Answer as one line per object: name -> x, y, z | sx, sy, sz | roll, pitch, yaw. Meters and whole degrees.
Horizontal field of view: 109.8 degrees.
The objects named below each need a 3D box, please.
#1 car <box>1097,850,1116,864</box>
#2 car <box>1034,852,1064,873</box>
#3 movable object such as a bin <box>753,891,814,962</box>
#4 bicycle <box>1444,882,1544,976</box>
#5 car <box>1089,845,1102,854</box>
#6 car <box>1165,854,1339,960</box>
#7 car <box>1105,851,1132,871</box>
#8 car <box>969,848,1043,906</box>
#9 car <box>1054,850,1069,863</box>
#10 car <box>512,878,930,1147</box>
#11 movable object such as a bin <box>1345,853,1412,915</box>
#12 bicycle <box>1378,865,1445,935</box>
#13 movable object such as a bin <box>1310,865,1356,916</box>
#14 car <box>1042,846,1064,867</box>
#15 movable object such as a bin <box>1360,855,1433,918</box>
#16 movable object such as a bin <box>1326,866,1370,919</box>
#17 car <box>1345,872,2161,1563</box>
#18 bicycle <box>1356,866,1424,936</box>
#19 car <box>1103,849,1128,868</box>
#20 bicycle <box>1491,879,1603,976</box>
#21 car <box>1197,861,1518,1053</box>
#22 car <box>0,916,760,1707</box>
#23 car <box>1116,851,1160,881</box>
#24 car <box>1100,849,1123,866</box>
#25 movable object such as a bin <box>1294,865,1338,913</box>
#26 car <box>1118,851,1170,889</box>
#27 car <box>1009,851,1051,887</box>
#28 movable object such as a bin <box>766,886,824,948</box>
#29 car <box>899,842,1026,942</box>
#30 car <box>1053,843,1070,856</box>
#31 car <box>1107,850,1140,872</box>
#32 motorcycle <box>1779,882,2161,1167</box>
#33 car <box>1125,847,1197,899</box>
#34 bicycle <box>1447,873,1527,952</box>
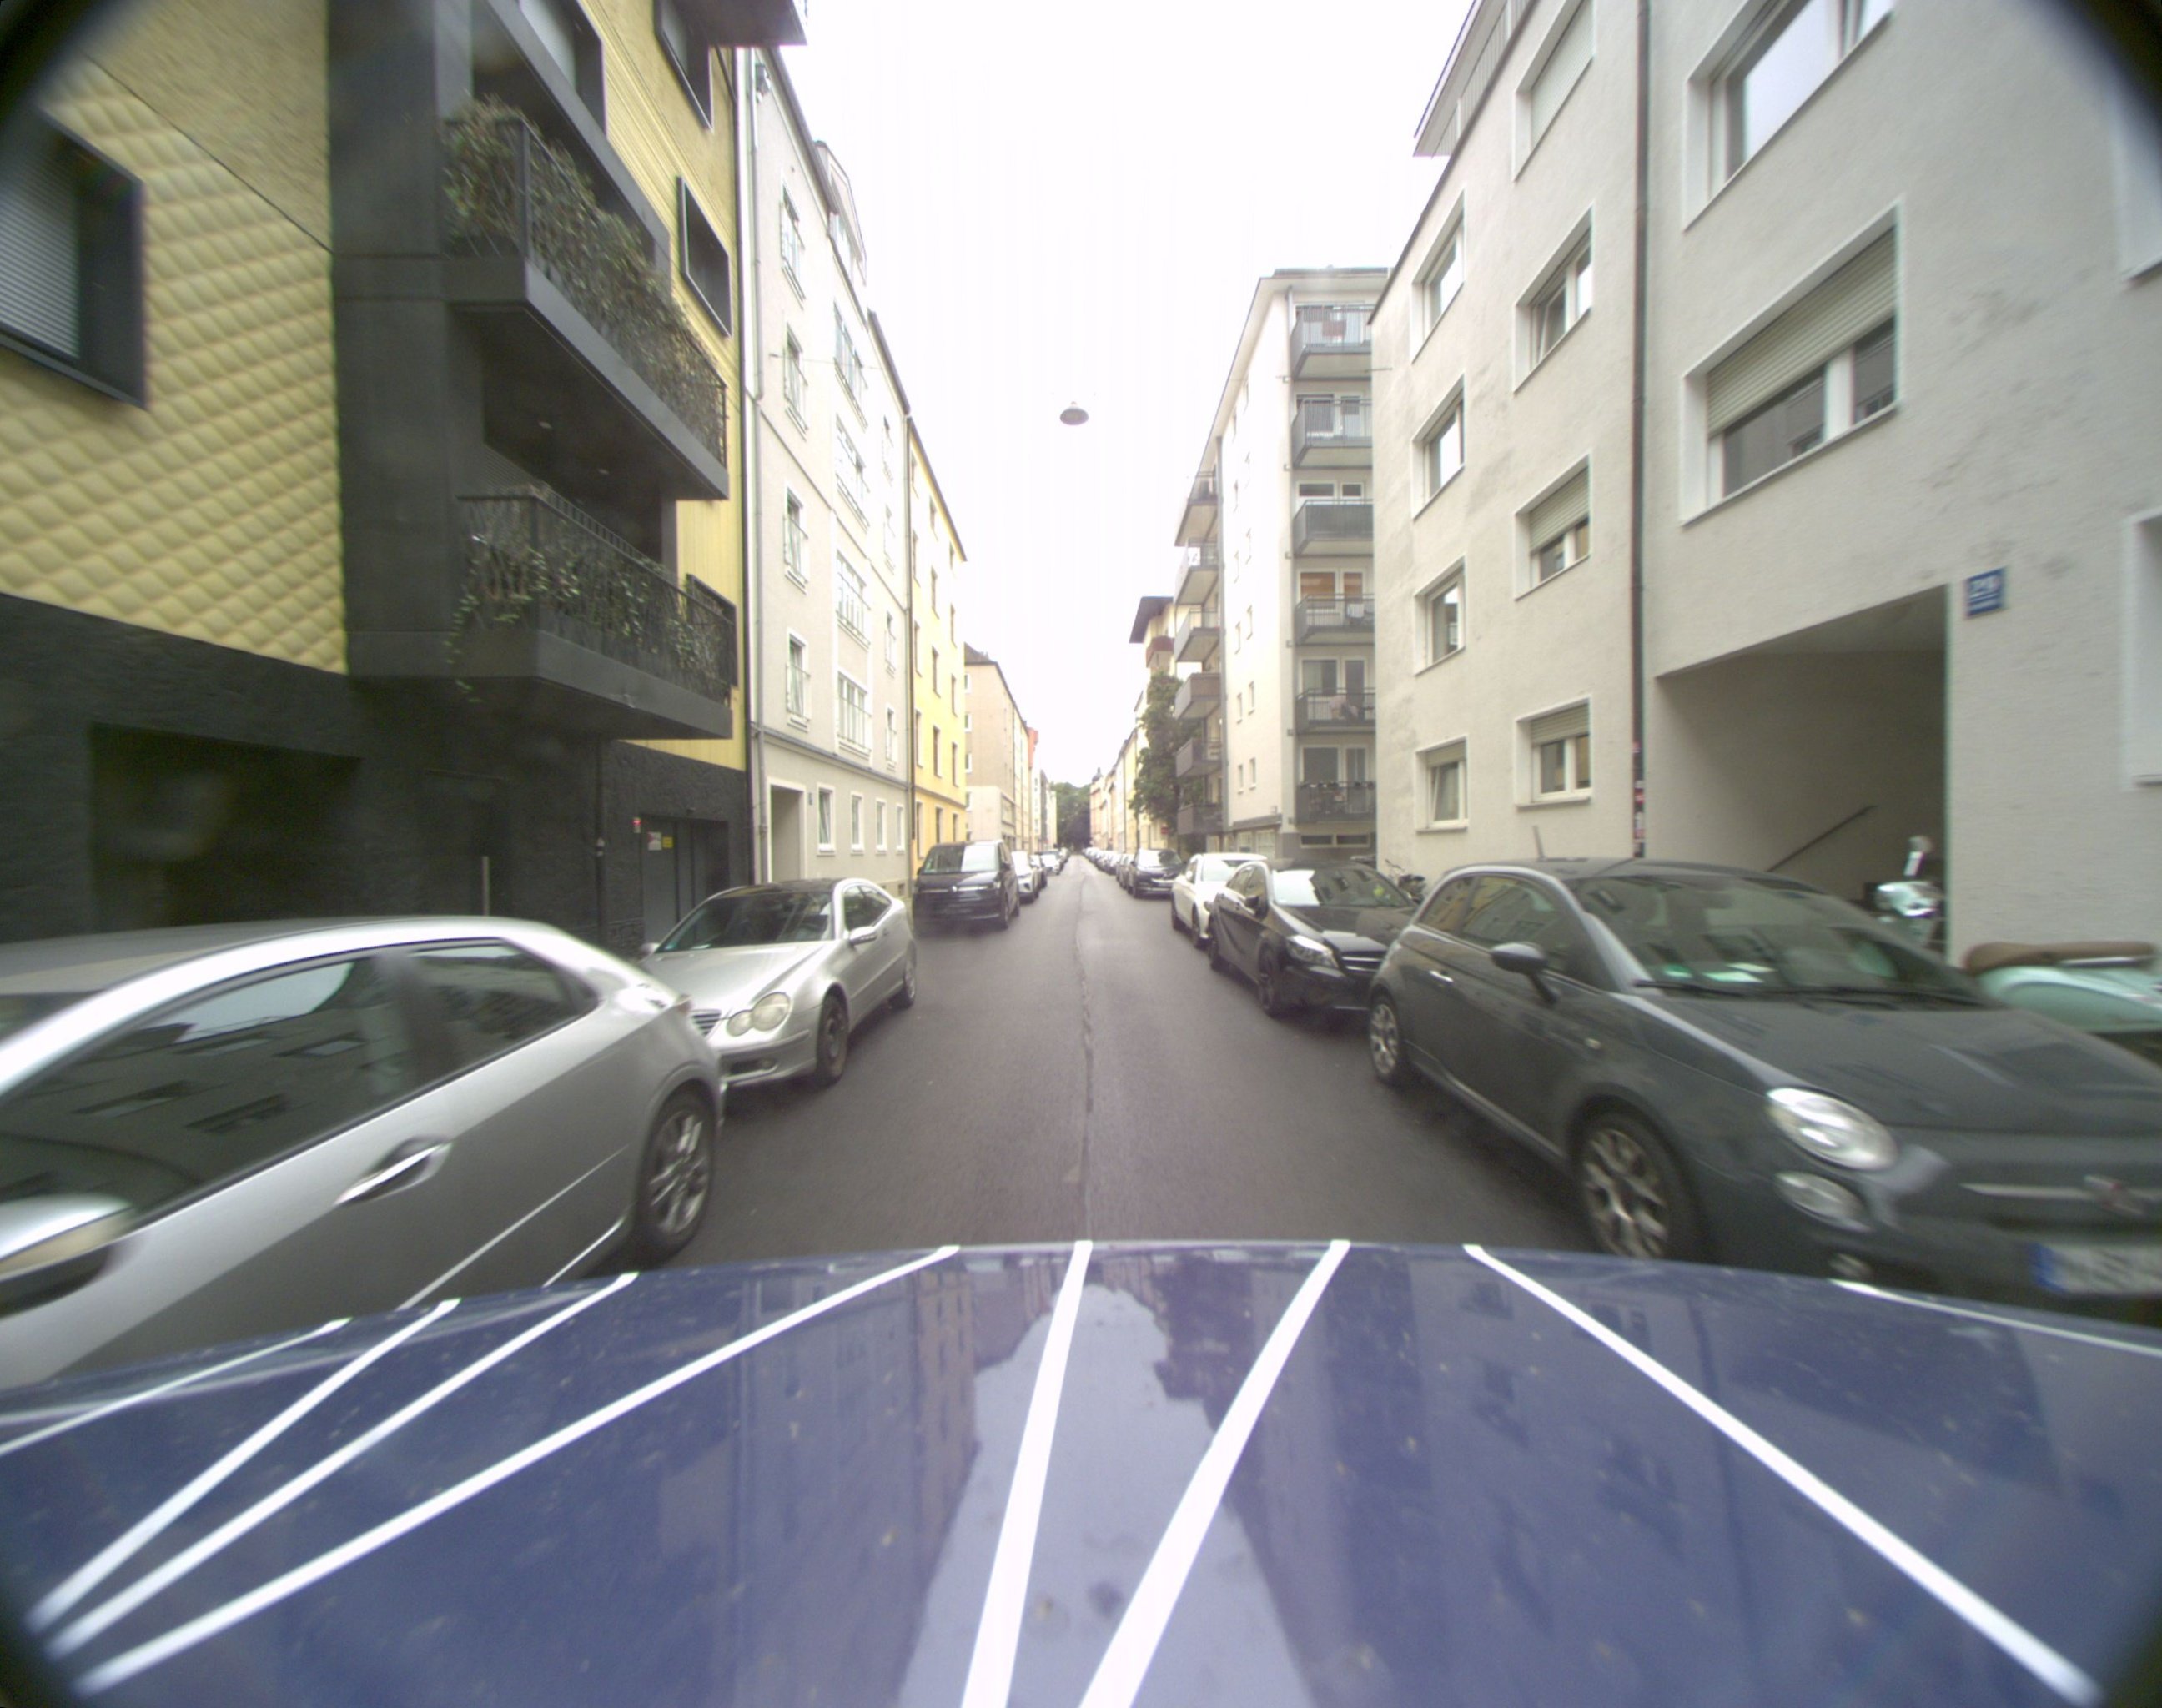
car -> 2.658, 0.298, 80.237 | 1.896, 1.444, 4.295 | -1, 1, 0
car -> -2.245, 0.579, 54.923 | 1.972, 1.369, 4.295 | -1, 1, 0
movable object such as a bin -> -5.086, 1.235, 13.024 | 0.797, 1.133, 0.573 | -1, 1, -1
bicycle -> 5.183, 0.902, 9.636 | 0.388, 1.011, 1.624 | 0, 1, 0
car -> 2.314, -0.726, 121.321 | 1.896, 1.444, 4.295 | -1, 1, 0
car -> 2.716, 0.755, 13.268 | 1.917, 1.429, 4.808 | -1, 1, 0
car -> 2.788, 0.470, 57.136 | 1.769, 1.369, 4.295 | -1, 1, 0
car -> -2.349, 0.678, 25.019 | 1.966, 1.665, 4.540 | -1, 1, 0
car -> -2.547, 0.264, 101.390 | 1.896, 1.621, 4.295 | -1, 1, 0
car -> -2.603, 1.032, 6.733 | 1.739, 1.421, 4.201 | -1, 1, -1
movable object such as a bin -> 6.803, 0.660, 17.450 | 1.114, 1.346, 1.104 | -1, 1, 1
bicycle -> 5.900, 0.786, 13.634 | 0.342, 1.132, 1.683 | -1, 1, -4
movable object such as a bin -> 5.592, 0.802, 16.887 | 0.770, 1.070, 0.634 | -1, 1, -5
car -> -2.563, 0.203, 70.054 | 1.896, 1.859, 4.295 | -1, 1, 0
movable object such as a bin -> 6.753, 0.679, 16.334 | 1.123, 1.256, 1.097 | -1, 1, 1
movable object such as a bin -> 5.713, 0.815, 16.260 | 0.692, 1.070, 0.604 | -1, 1, -5
car -> 2.674, 0.890, 3.596 | 1.615, 1.438, 3.742 | 1, 1, 2
bicycle -> 5.488, 0.802, 13.582 | 0.405, 1.132, 1.683 | -1, 1, -4
car -> 2.798, 0.336, 62.568 | 1.896, 1.444, 4.295 | -1, 1, 0
bicycle -> 5.616, 0.849, 9.251 | 0.399, 1.011, 1.574 | 0, 1, 0
car -> 2.539, 0.838, 8.176 | 1.805, 1.409, 4.225 | -1, 1, -2
car -> -2.469, 1.106, 1.608 | 1.764, 1.423, 4.260 | -4, 1, -2
car -> 2.943, 0.584, 40.116 | 1.972, 1.391, 4.295 | -1, 1, 0
car -> 2.717, 0.314, 68.145 | 1.896, 1.444, 4.295 | -1, 1, 0
movable object such as a bin -> 5.422, 0.797, 17.561 | 0.770, 1.070, 0.678 | -1, 1, -5
car -> 2.619, 0.625, 32.360 | 1.818, 1.433, 4.295 | -1, 1, 0
car -> -2.305, 0.657, 35.337 | 1.691, 1.496, 3.856 | -1, 1, 0
movable object such as a bin -> -5.113, 1.122, 13.599 | 0.797, 1.048, 0.546 | -1, 1, -1
car -> -2.479, 0.704, 17.294 | 1.987, 1.828, 5.183 | -3, 1, 0
car -> -2.390, -0.564, 92.730 | 1.896, 1.621, 4.295 | -1, 1, 0
car -> 2.860, 0.458, 51.606 | 1.972, 1.369, 4.295 | -1, 1, 0
motorcycle -> 5.117, 0.807, 4.259 | 0.601, 1.196, 1.857 | -1, 1, -5
car -> 2.677, 0.584, 26.362 | 1.972, 1.598, 4.539 | -1, 1, 0
bicycle -> 5.747, 0.798, 10.826 | 0.380, 1.011, 1.441 | 0, 1, 1
